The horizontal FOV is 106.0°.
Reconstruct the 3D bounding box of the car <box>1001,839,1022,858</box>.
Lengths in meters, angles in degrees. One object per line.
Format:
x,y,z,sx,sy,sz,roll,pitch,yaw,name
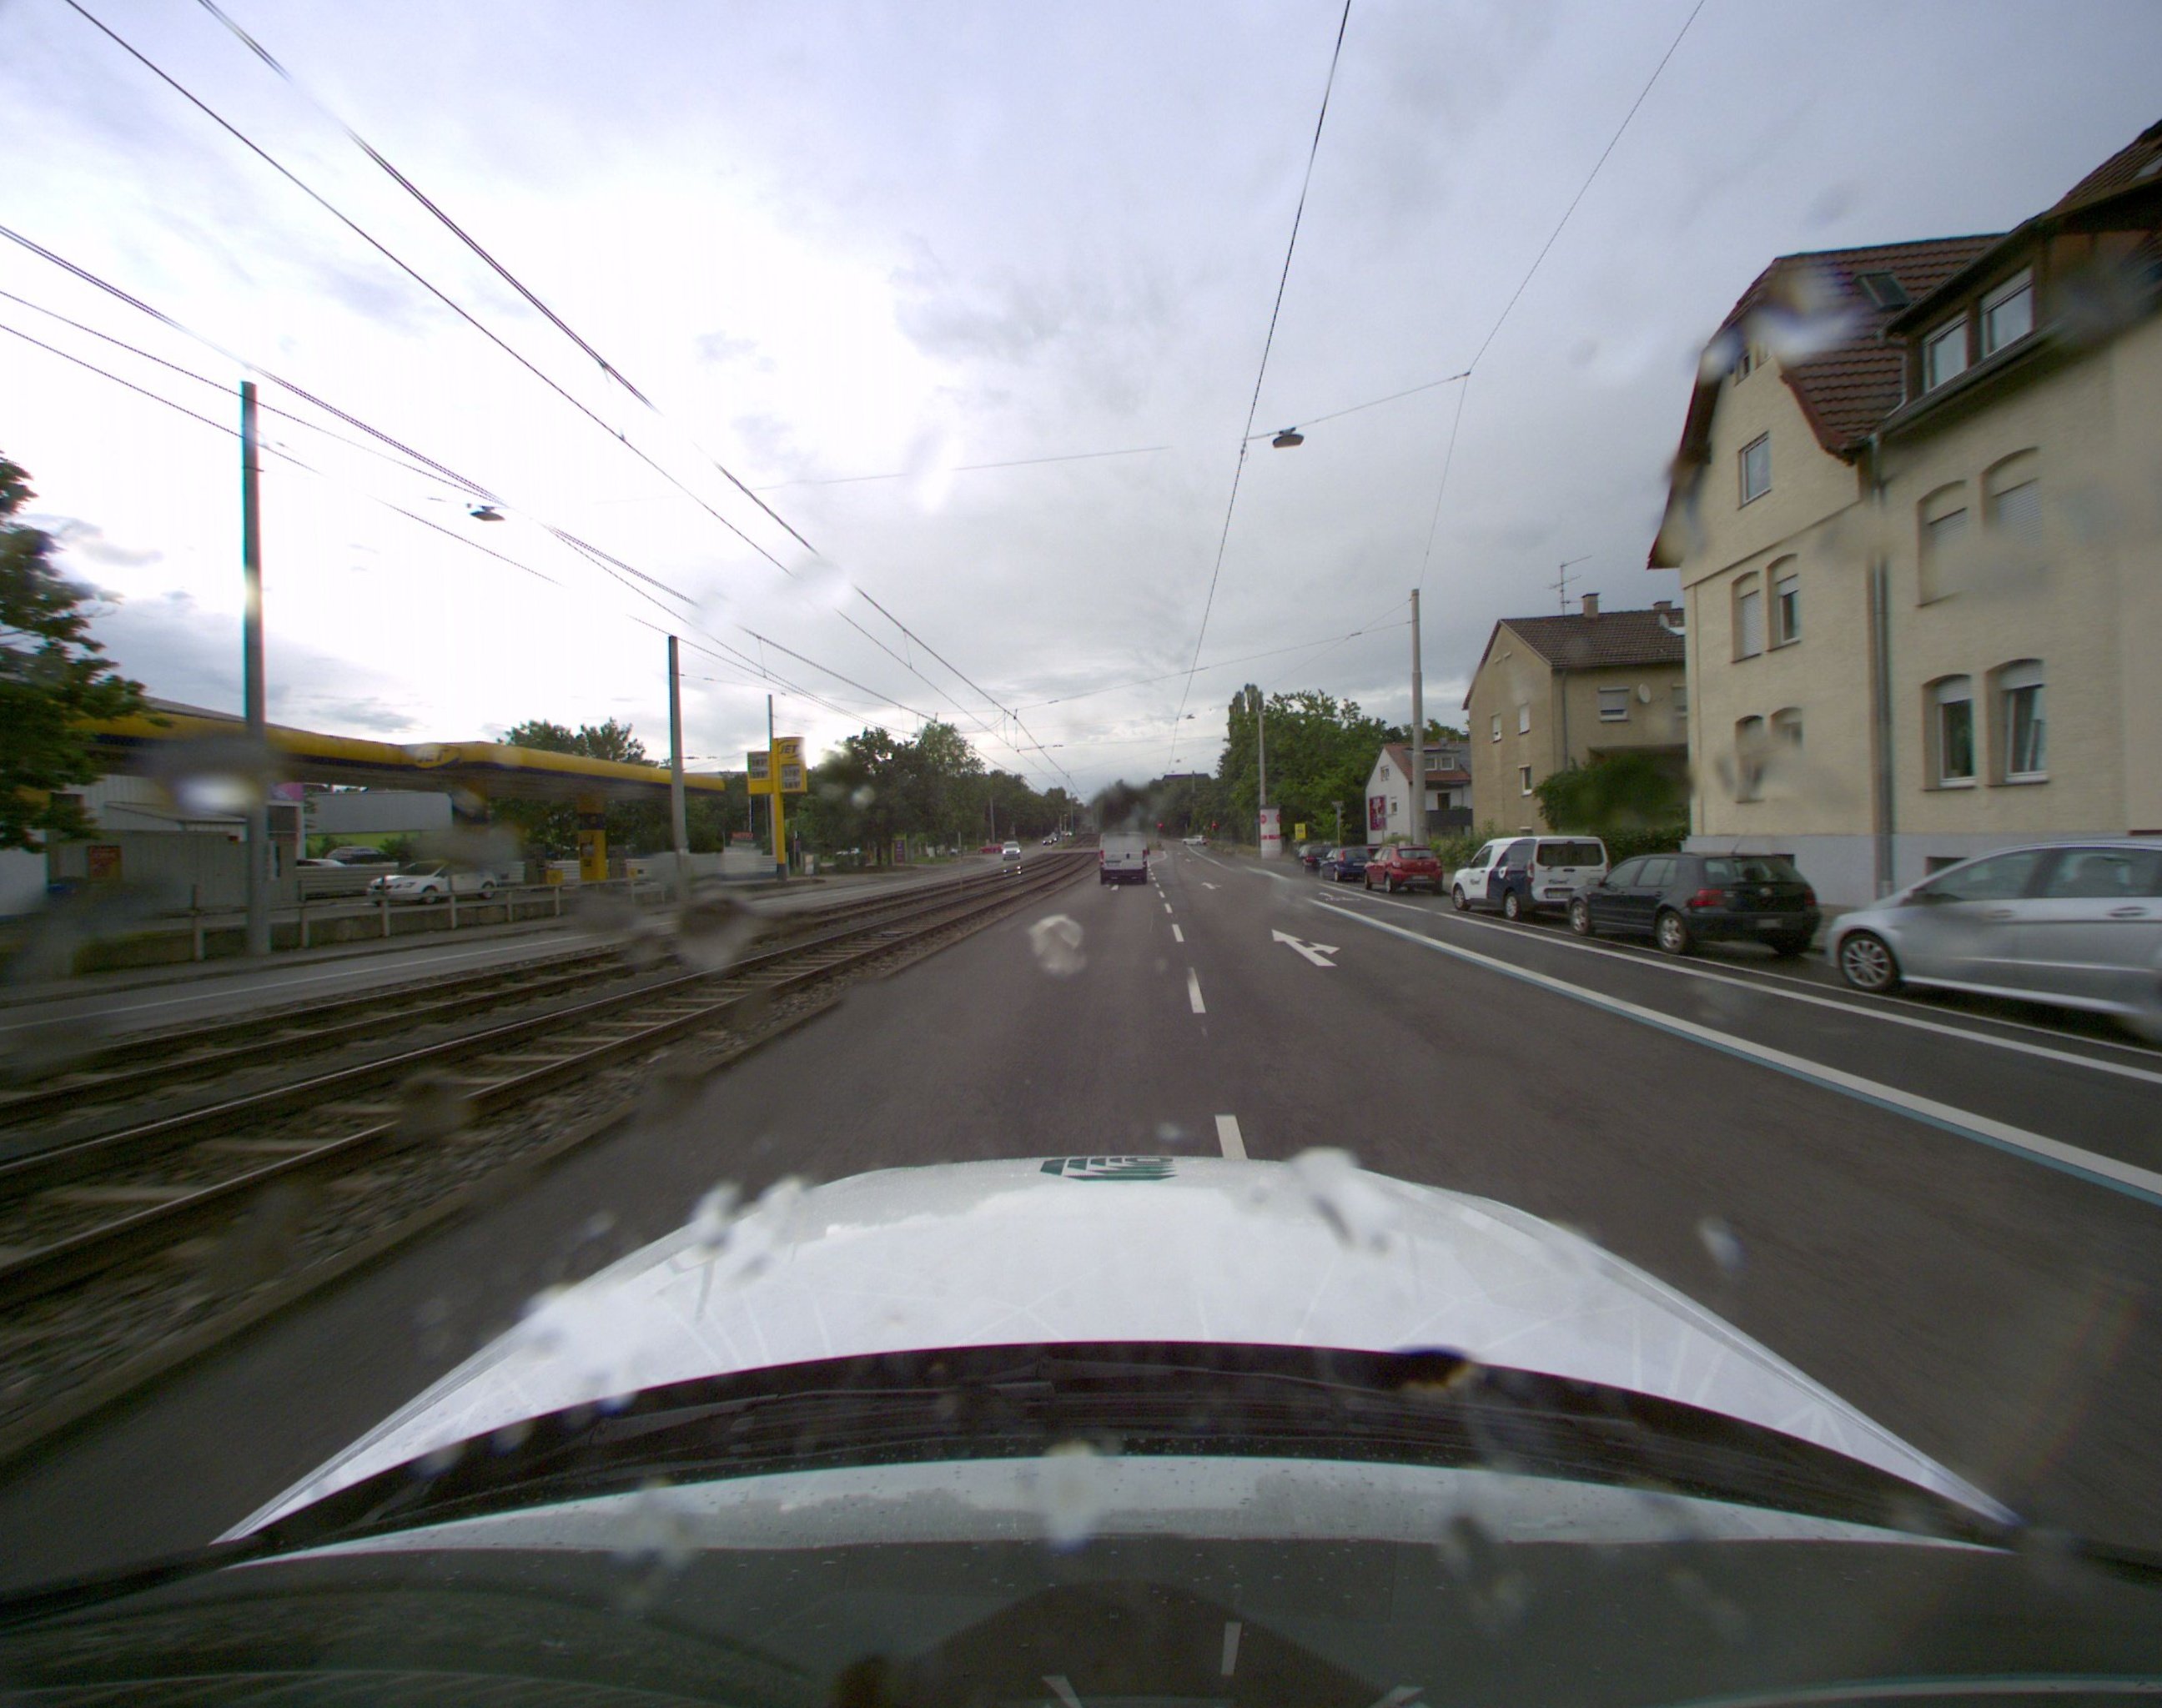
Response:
-7.823,-0.590,91.375,1.993,2.014,4.514,0,-1,-8,car

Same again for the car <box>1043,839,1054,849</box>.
-5.838,-1.711,147.100,1.683,1.712,3.780,0,-1,3,car

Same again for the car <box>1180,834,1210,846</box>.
16.905,-2.079,121.065,1.676,1.476,4.132,-2,0,-44,car

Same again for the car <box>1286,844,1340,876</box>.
11.725,0.307,41.392,1.839,1.500,3.958,-1,0,4,car

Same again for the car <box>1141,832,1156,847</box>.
9.841,-2.115,119.001,1.986,2.014,4.001,0,-1,2,car

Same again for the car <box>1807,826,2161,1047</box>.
8.788,0.597,7.036,1.638,1.615,4.110,0,0,5,car

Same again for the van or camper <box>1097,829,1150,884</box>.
1.834,0.135,36.277,2.191,2.253,4.685,0,-1,2,van or camper

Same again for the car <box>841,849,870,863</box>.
-34.279,0.333,123.918,3.984,2.014,1.995,0,-1,-8,car

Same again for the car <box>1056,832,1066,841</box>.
-4.863,-4.221,199.905,1.985,2.014,4.004,0,-1,4,car

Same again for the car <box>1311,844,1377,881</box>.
11.415,0.361,35.619,1.839,1.500,3.958,-1,0,4,car

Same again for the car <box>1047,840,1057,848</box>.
-5.911,-2.070,165.651,1.683,1.574,3.780,-2,0,3,car

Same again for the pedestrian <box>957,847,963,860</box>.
-13.291,-0.045,89.172,0.612,1.475,0.641,-2,-1,-8,pedestrian

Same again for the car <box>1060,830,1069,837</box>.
-4.446,-5.392,217.376,1.985,1.651,4.005,-2,0,4,car

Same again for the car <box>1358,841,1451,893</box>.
10.982,0.396,27.927,1.839,1.645,3.959,-1,0,4,car

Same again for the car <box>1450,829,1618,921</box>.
9.814,0.399,18.016,1.739,1.807,3.959,-1,0,4,car

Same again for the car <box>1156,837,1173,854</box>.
10.317,-1.001,100.423,1.984,2.014,4.005,0,-1,5,car

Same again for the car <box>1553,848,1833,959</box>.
9.158,0.637,12.651,1.638,1.446,3.960,0,0,5,car

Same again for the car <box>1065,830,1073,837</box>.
-3.394,-5.978,237.120,1.985,1.651,4.005,-2,0,4,car

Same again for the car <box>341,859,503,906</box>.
-21.802,0.896,27.192,1.985,1.442,4.003,0,-1,3,car

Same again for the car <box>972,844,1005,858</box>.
-13.775,-0.459,121.812,4.483,2.014,2.006,0,-1,12,car
